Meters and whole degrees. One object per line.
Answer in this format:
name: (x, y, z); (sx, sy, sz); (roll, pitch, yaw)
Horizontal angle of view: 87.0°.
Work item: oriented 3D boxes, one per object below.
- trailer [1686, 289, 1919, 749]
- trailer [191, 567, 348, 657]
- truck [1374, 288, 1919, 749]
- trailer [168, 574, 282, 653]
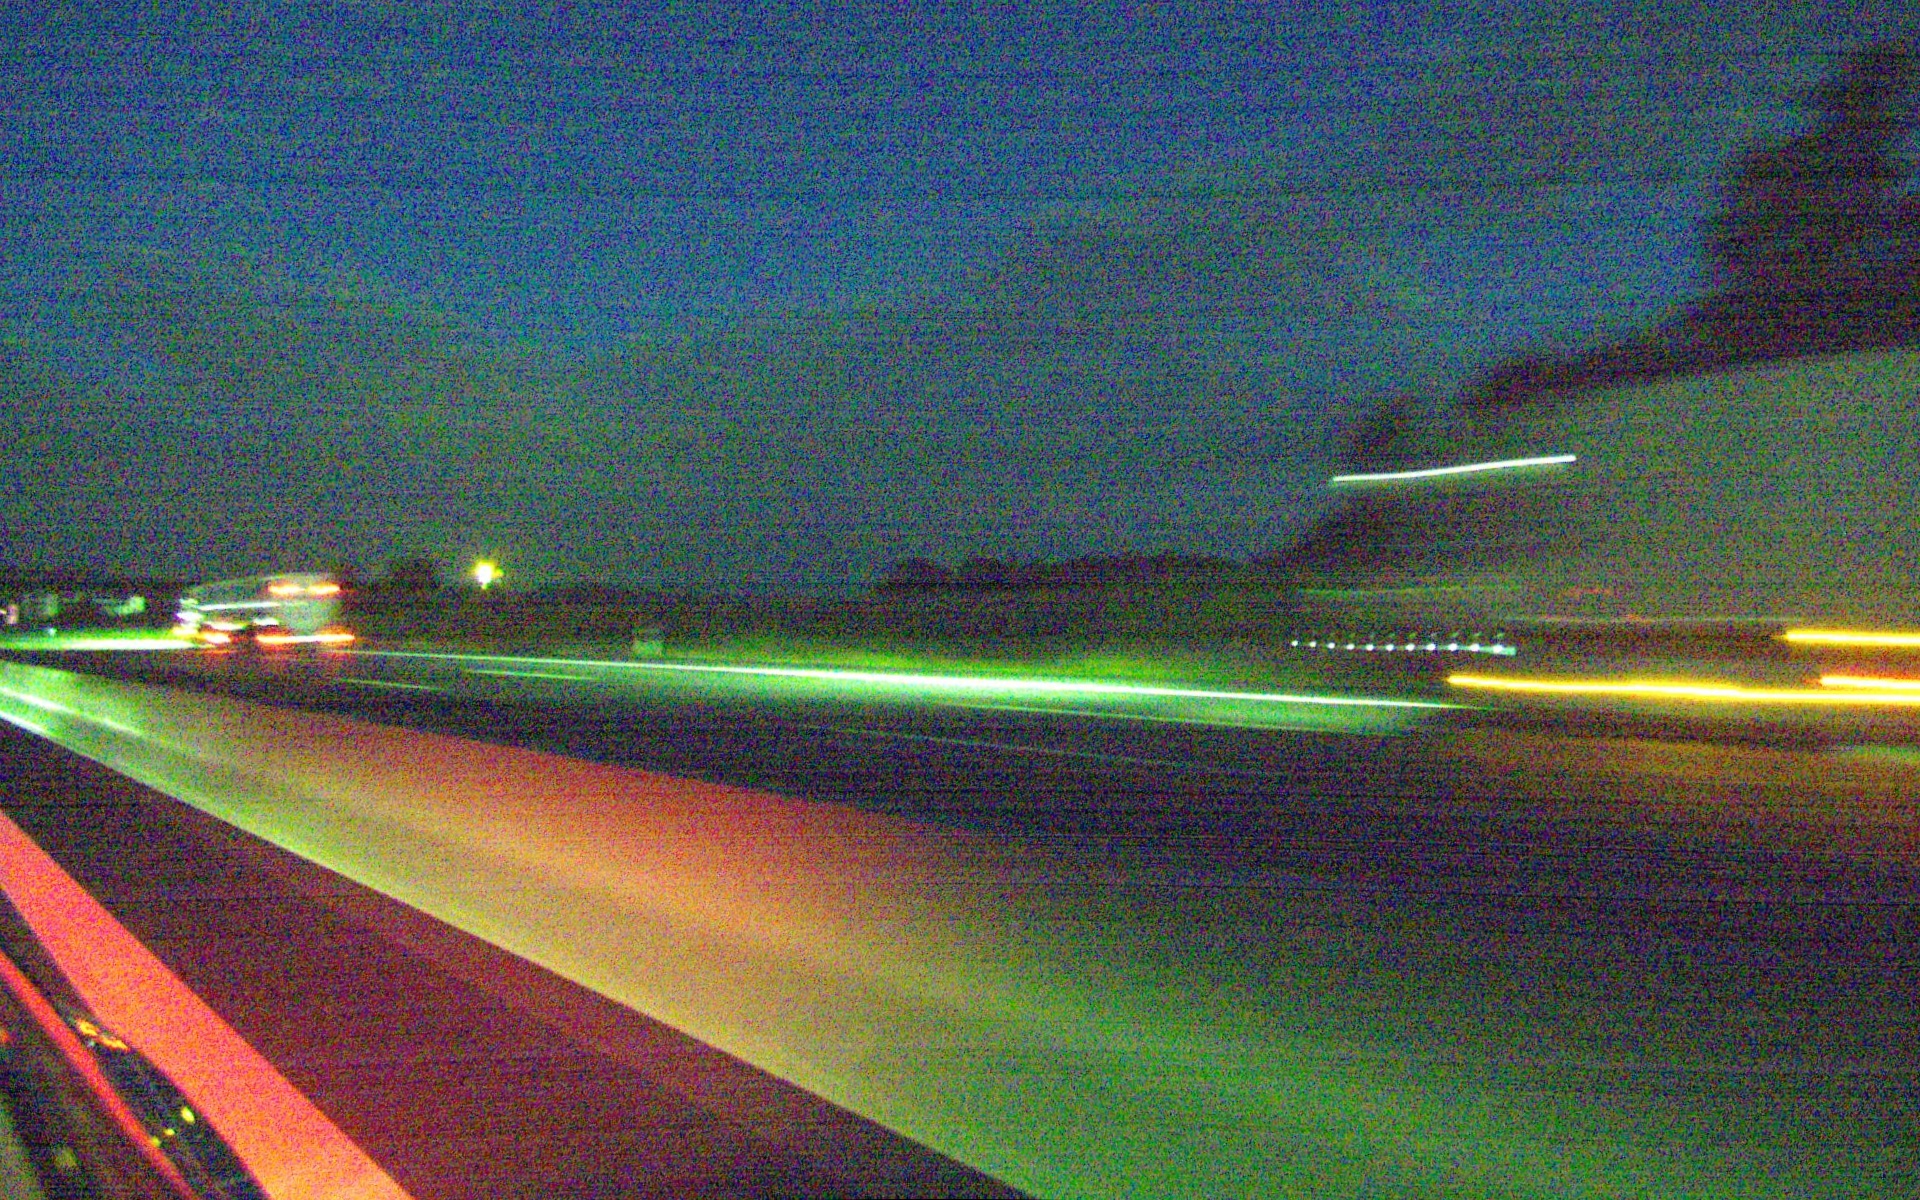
trailer: (14.101, -0.871, 7.467); (13.974, 4.467, 2.822); (-1, 0, 41)
trailer: (-32.355, 0.573, 47.109); (11.677, 3.717, 3.026); (-1, 0, 40)
truck: (8.762, -0.768, 12.176); (6.393, 4.467, 2.823); (-1, 0, 41)
trailer: (-37.341, 0.669, 51.324); (7.223, 3.717, 3.026); (-1, 0, 40)
